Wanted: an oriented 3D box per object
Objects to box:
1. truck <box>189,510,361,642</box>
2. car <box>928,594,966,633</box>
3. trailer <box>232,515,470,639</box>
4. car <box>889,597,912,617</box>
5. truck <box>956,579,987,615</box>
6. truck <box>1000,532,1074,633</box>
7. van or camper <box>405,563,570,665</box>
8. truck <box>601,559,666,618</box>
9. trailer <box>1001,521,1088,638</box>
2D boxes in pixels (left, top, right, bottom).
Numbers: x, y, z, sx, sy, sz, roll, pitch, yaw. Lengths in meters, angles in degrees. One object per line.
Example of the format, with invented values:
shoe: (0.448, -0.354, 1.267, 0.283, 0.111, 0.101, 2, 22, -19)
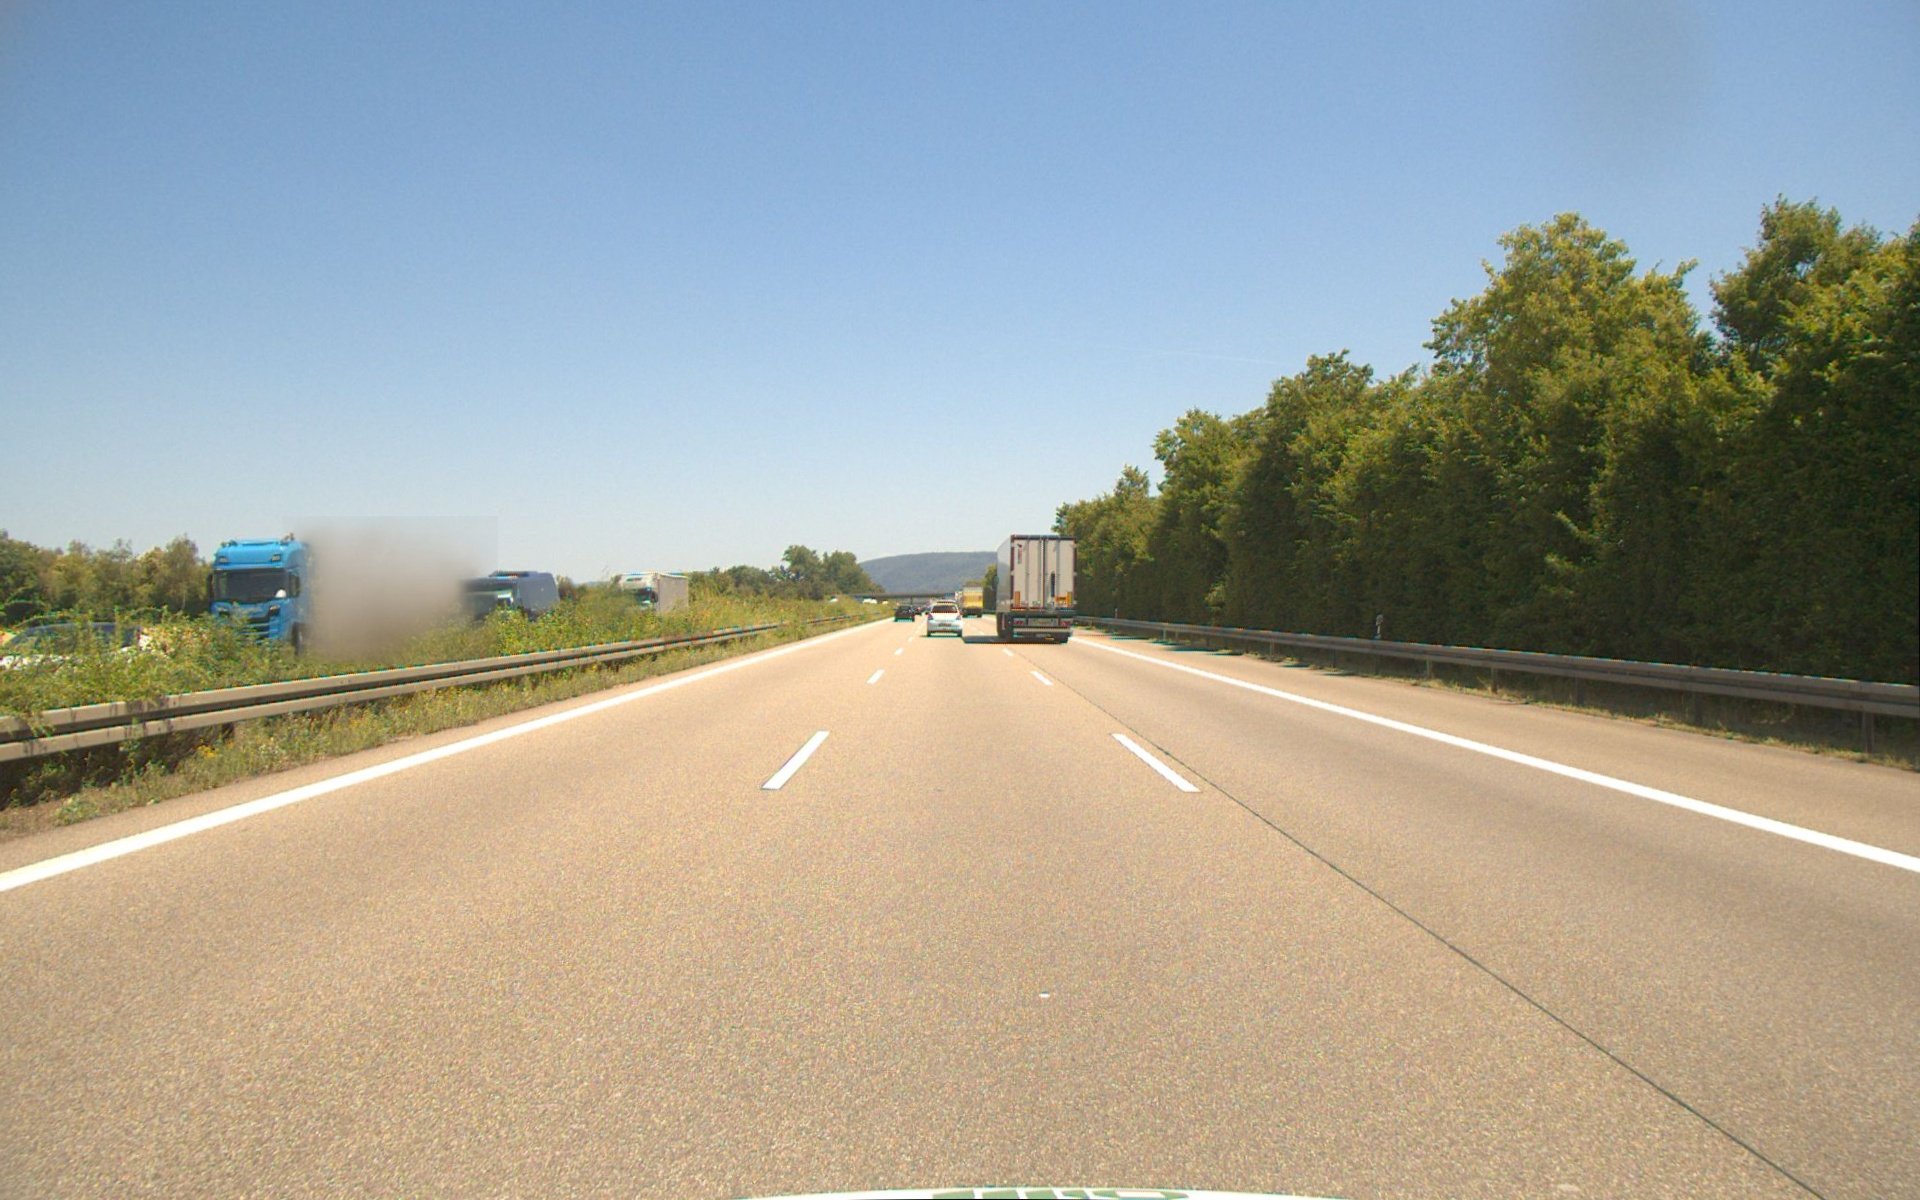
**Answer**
truck: (-20.737, -0.704, 50.397, 3.046, 3.763, 5.197, 1, 0, 0)
car: (-0.621, 0.613, 77.668, 1.697, 1.713, 3.999, -1, 0, -1)
trailer: (-20.788, -0.705, 57.890, 3.046, 3.763, 14.381, 1, 0, 0)
car: (-5.259, 0.610, 146.374, 1.953, 1.742, 3.999, 1, 0, -1)
truck: (1.428, -0.411, 213.190, 3.792, 4.421, 13.858, 1, 0, -1)
truck: (3.502, -0.774, 76.804, 3.151, 4.421, 6.591, 1, 0, 1)
van or camper: (-16.139, 0.441, 57.455, 2.557, 3.156, 11.508, -1, 0, -1)
truck: (-21.705, -0.723, 110.387, 3.282, 3.763, 6.062, 1, 0, -2)
trailer: (3.366, -0.776, 69.543, 3.151, 4.421, 13.630, 1, 0, 1)
